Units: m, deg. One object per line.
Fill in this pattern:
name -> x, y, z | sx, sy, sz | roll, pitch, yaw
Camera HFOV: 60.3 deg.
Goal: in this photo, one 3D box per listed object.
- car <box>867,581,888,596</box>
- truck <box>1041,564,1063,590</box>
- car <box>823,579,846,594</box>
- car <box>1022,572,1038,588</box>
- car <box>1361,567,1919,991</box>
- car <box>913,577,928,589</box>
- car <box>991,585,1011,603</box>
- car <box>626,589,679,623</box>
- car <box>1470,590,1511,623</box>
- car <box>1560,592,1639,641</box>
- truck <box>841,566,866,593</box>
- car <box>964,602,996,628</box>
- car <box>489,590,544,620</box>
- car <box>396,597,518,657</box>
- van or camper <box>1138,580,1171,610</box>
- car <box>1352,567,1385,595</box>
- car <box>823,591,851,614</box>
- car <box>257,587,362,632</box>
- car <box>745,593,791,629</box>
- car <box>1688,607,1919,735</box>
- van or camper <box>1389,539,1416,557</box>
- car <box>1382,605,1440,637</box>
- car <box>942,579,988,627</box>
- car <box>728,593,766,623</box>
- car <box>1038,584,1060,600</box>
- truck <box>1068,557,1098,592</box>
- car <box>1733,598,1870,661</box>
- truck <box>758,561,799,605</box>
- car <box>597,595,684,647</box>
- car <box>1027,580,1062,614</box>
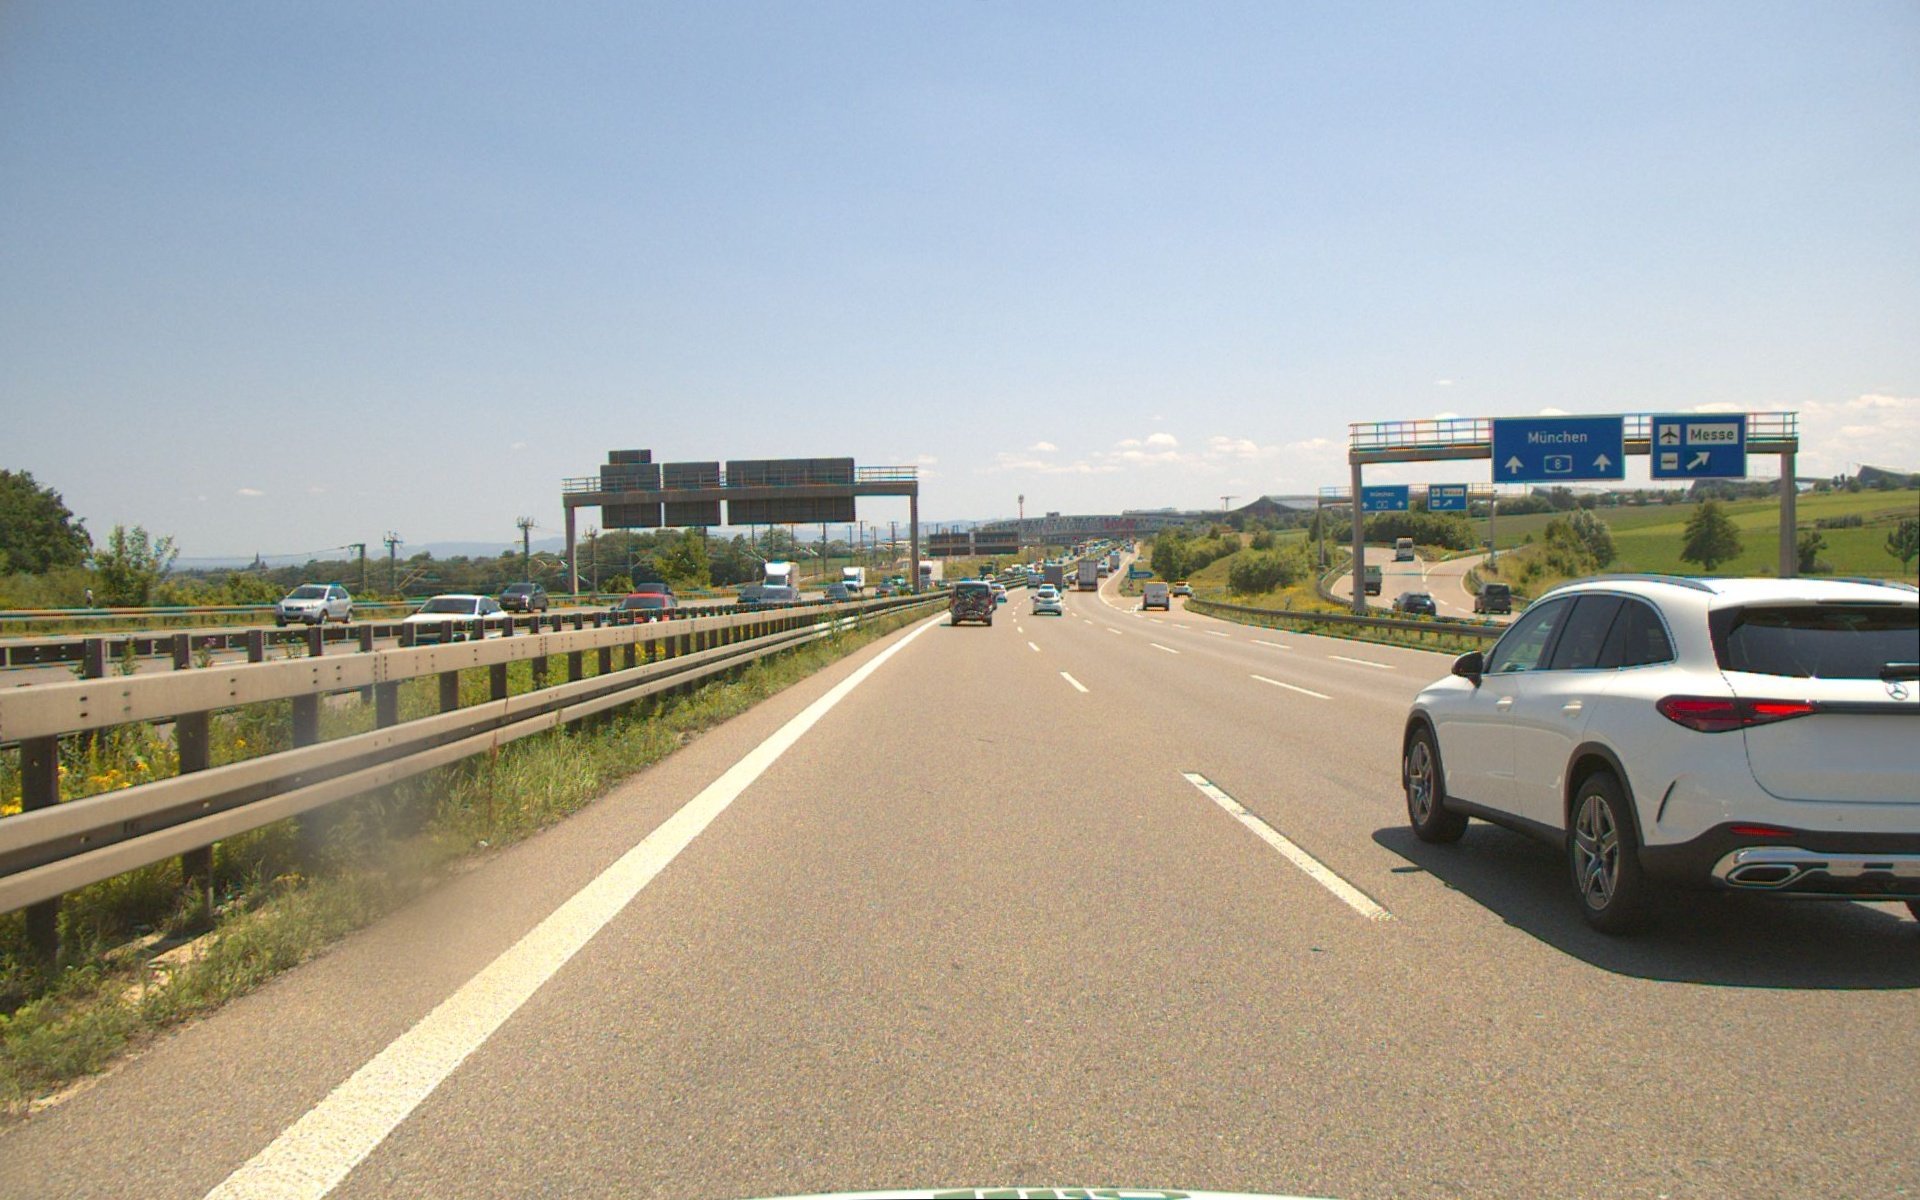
car -> -8.457, -1.202, 170.189 | 1.753, 1.490, 4.861 | 0, 1, 2
truck -> 11.810, -2.856, 211.480 | 2.645, 3.163, 10.665 | 0, 0, 4
car -> -12.500, -1.385, 165.221 | 1.866, 1.445, 4.001 | 0, 1, 2
car -> 10.186, -2.887, 240.228 | 2.140, 2.037, 4.003 | 1, 3, 3
car -> 3.812, 0.718, 9.088 | 1.860, 1.676, 4.996 | 0, 0, -2
car -> -5.167, -2.243, 216.822 | 1.706, 1.588, 4.001 | 0, 1, 2
car -> 3.607, -0.500, 144.490 | 1.543, 1.579, 3.966 | 0, 0, 4
car -> -15.904, 0.299, 85.678 | 1.809, 1.684, 4.910 | 1, 0, 0
car -> 32.246, 0.384, 100.660 | 1.897, 1.957, 4.183 | 0, 0, 11
car -> 26.428, 0.676, 68.509 | 1.898, 1.957, 4.181 | 0, 0, 4
truck -> -13.278, -2.550, 205.987 | 2.272, 3.222, 8.116 | 0, 1, 2
car -> 1.377, 0.993, 111.014 | 1.886, 1.655, 4.520 | 0, 0, 4
car -> -23.724, 0.266, 88.616 | 1.809, 1.558, 4.223 | 1, 0, 0
car -> -12.765, 0.638, 42.269 | 1.623, 1.428, 4.759 | 1, 0, 0
van or camper -> 13.823, -0.359, 117.794 | 2.110, 2.049, 4.306 | 0, 0, 4
car -> 30.809, -1.412, 124.920 | 1.951, 2.049, 4.003 | 0, 0, 7
car -> -9.008, 0.196, 121.474 | 1.712, 1.653, 4.831 | 0, 0, 0
car -> -23.503, 0.318, 59.945 | 2.062, 1.558, 4.371 | 1, 0, 0
car -> -9.099, 0.516, 78.653 | 1.641, 1.643, 4.362 | 0, 0, 0
car -> 11.388, 0.833, 21.483 | 1.749, 1.462, 4.847 | 0, 0, 0
van or camper -> 52.615, -6.158, 196.772 | 2.475, 2.049, 4.464 | 0, 0, 8
car -> 23.594, 1.095, 86.639 | 1.953, 1.624, 4.000 | 0, 0, 0
car -> 0.229, 0.134, 70.104 | 1.887, 1.952, 4.948 | 0, 0, 0
car -> -12.152, 0.454, 94.632 | 1.641, 1.653, 4.085 | 0, 0, 0
car -> 8.482, -0.742, 157.730 | 1.940, 1.499, 4.002 | 0, 0, 4
truck -> 16.541, -3.439, 222.020 | 3.954, 4.335, 11.766 | 0, 2, 4
car -> 22.231, 0.747, 43.872 | 1.664, 1.602, 4.129 | 0, 0, 2
truck -> -14.272, -1.295, 130.331 | 2.327, 3.334, 7.661 | 0, 0, 0
car -> -9.410, 0.573, 48.991 | 1.623, 1.449, 4.775 | 1, 0, 0
car -> 4.994, -0.191, 98.259 | 1.887, 1.952, 4.517 | 0, 0, 0
